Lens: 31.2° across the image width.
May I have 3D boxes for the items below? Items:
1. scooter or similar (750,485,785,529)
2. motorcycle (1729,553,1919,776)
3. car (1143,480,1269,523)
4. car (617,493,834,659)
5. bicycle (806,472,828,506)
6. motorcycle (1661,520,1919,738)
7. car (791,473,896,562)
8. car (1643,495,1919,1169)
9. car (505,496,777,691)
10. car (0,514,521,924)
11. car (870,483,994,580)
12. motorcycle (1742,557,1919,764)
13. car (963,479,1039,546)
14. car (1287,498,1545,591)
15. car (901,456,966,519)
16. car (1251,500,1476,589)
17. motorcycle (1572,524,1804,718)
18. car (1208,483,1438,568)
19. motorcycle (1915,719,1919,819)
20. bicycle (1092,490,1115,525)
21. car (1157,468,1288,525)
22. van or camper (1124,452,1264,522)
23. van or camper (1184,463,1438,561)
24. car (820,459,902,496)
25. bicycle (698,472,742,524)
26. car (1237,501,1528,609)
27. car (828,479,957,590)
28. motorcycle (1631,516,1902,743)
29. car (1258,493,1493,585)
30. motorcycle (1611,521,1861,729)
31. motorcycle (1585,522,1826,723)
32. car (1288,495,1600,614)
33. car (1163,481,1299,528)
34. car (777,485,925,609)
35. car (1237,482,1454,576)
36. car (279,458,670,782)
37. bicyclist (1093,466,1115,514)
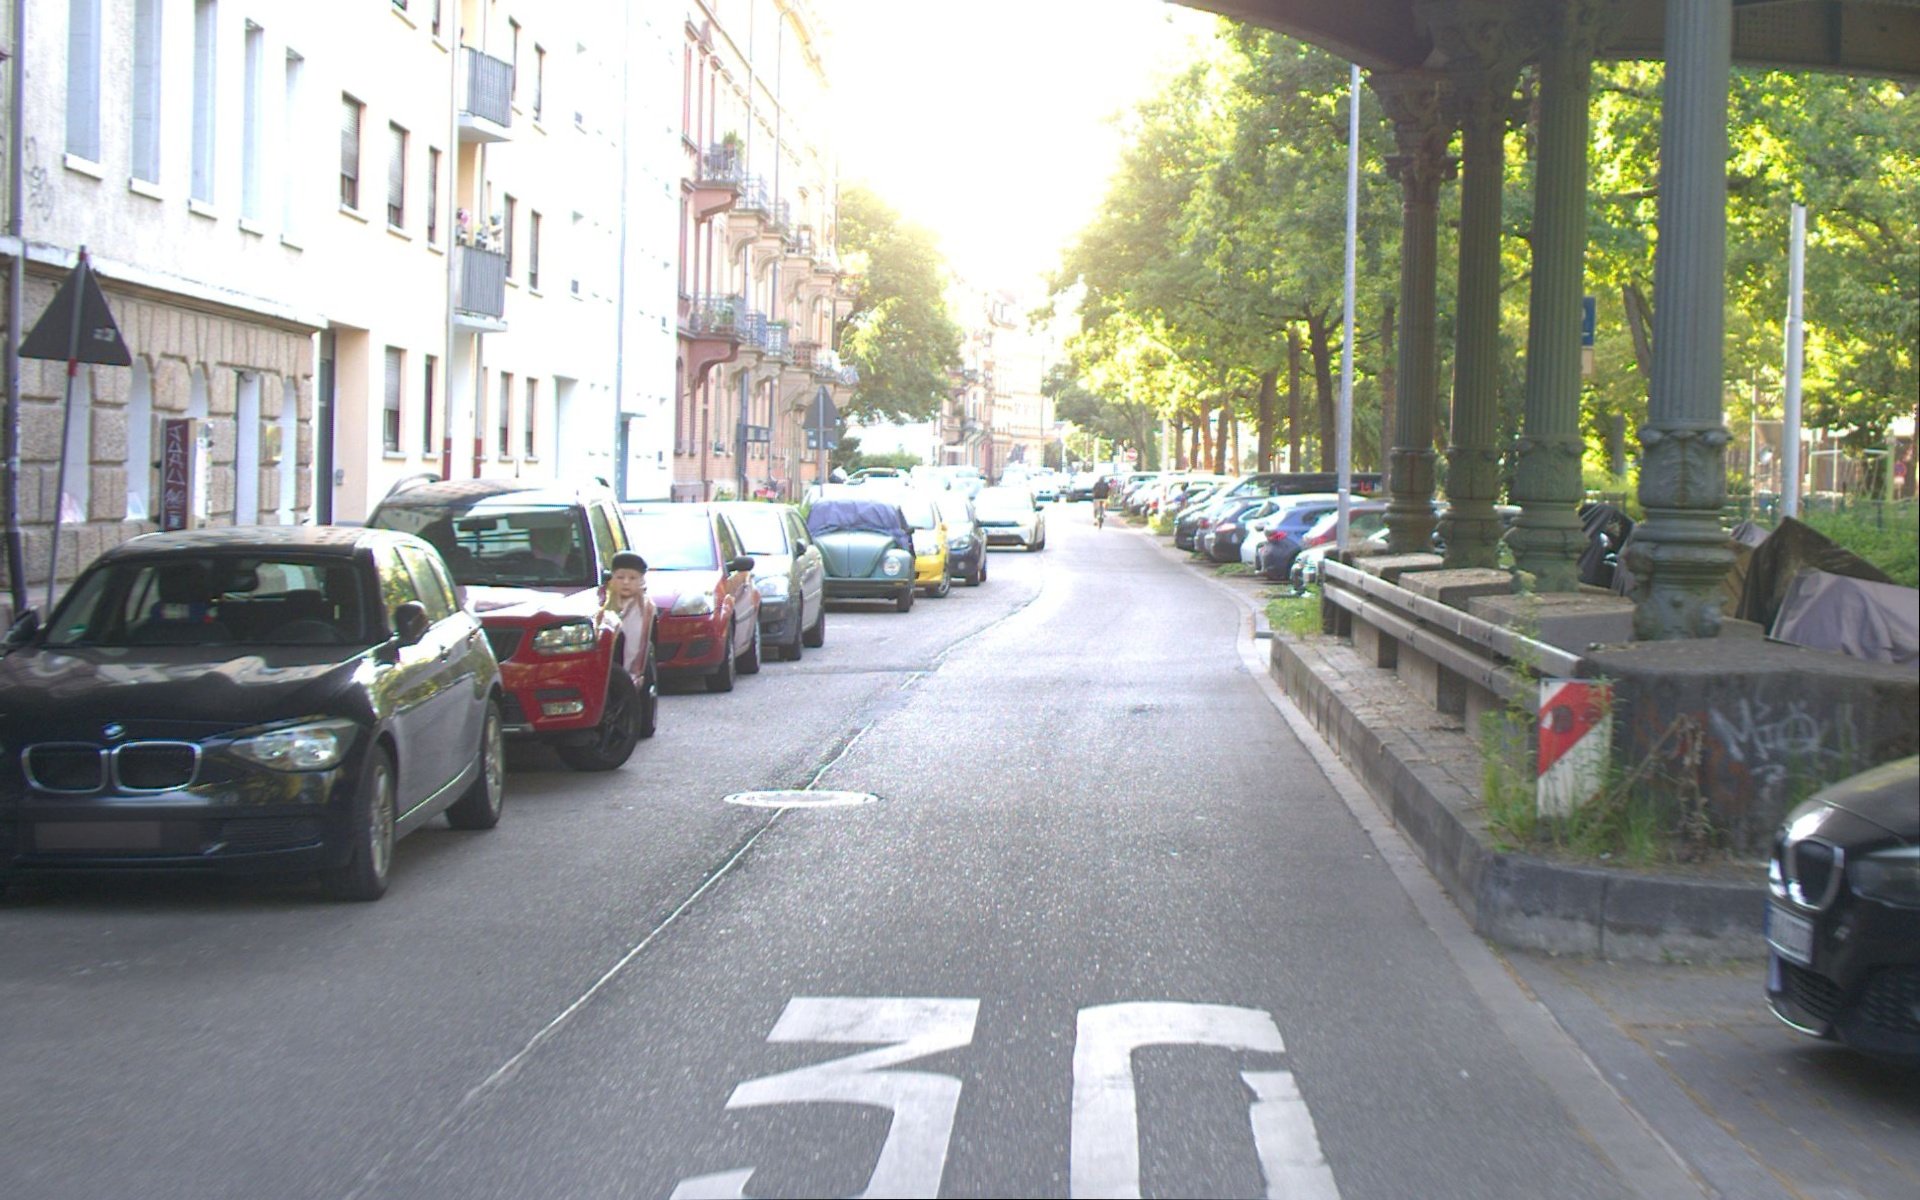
[{"bbox_3d":[-5.691,-2.746,101.787,0.783,1.218,2.704,3,1,1],"label":"scooter or similar"},{"bbox_3d":[5.185,0.358,18.502,1.831,1.128,0.851,2,1,-22],"label":"motorcycle"},{"bbox_3d":[8.378,-3.359,116.898,4.221,1.448,1.648,0,2,6],"label":"car"},{"bbox_3d":[-2.191,-0.277,33.029,1.637,1.461,4.000,-1,2,2],"label":"car"},{"bbox_3d":[-5.188,-4.027,124.843,0.705,1.143,1.890,3,1,-2],"label":"bicycle"},{"bbox_3d":[5.729,0.191,23.690,1.602,1.403,0.712,3,0,22],"label":"motorcycle"},{"bbox_3d":[-2.191,-1.599,65.661,1.668,1.502,4.000,5,2,1],"label":"car"},{"bbox_3d":[4.162,0.634,8.921,4.374,1.572,1.674,3,1,0],"label":"car"},{"bbox_3d":[-2.514,-0.112,27.924,1.689,1.436,4.000,1,2,2],"label":"car"},{"bbox_3d":[-3.047,0.384,14.534,1.717,1.459,4.000,1,2,2],"label":"car"},{"bbox_3d":[-0.410,-1.120,54.809,1.739,1.474,4.000,1,2,3],"label":"car"},{"bbox_3d":[5.422,0.356,19.777,1.599,1.128,0.713,3,0,-15],"label":"motorcycle"},{"bbox_3d":[0.987,-2.076,80.631,1.668,1.426,4.001,-1,3,2],"label":"car"},{"bbox_3d":[7.187,-0.872,54.440,3.781,1.396,1.767,1,1,-2],"label":"car"},{"bbox_3d":[-0.863,-3.754,115.122,1.993,1.914,5.040,3,1,0],"label":"car"},{"bbox_3d":[6.966,-0.958,59.659,3.782,1.468,1.664,1,1,4],"label":"car"},{"bbox_3d":[5.652,0.156,26.677,1.602,1.403,0.712,3,0,22],"label":"motorcycle"},{"bbox_3d":[7.085,-1.449,67.122,4.400,1.572,1.664,1,1,7],"label":"car"},{"bbox_3d":[4.952,0.441,14.460,1.720,1.026,0.812,2,1,-32],"label":"motorcycle"},{"bbox_3d":[4.787,-3.086,114.738,0.641,1.096,1.944,3,1,0],"label":"bicycle"},{"bbox_3d":[8.576,-3.384,112.435,4.220,1.857,1.762,0,2,3],"label":"car"},{"bbox_3d":[8.784,-4.249,129.402,4.981,2.369,2.185,3,0,0],"label":"van or camper"},{"bbox_3d":[7.609,-1.928,74.972,5.414,2.020,2.029,1,3,4],"label":"van or camper"},{"bbox_3d":[-5.072,-6.290,176.550,3.987,1.700,2.000,3,1,3],"label":"car"},{"bbox_3d":[-5.848,-2.496,83.768,0.737,1.202,2.514,3,3,2],"label":"bicycle"},{"bbox_3d":[5.716,-0.612,46.844,3.782,1.396,1.827,1,1,3],"label":"car"},{"bbox_3d":[-0.946,-0.980,49.957,1.702,1.520,3.774,1,2,1],"label":"car"},{"bbox_3d":[5.349,0.183,22.791,1.602,1.403,0.712,3,0,22],"label":"motorcycle"},{"bbox_3d":[6.854,-1.007,56.776,3.783,1.442,1.664,1,1,7],"label":"car"},{"bbox_3d":[5.600,0.173,24.796,1.602,1.403,0.712,3,0,22],"label":"motorcycle"},{"bbox_3d":[5.568,0.163,25.666,1.602,1.403,0.712,3,0,22],"label":"motorcycle"},{"bbox_3d":[6.290,-0.592,44.906,3.781,1.467,1.635,1,1,-2],"label":"car"},{"bbox_3d":[8.424,-2.969,106.964,4.081,1.437,1.762,0,2,-1],"label":"car"},{"bbox_3d":[-1.380,-0.727,44.758,1.567,1.512,3.782,1,2,3],"label":"car"},{"bbox_3d":[6.955,-1.277,62.292,3.782,1.640,1.664,1,1,2],"label":"car"},{"bbox_3d":[-2.755,0.044,20.388,1.717,1.702,4.323,1,2,0],"label":"car"},{"bbox_3d":[4.815,-3.674,114.787,0.627,1.568,0.802,3,0,0],"label":"bicyclist"}]
